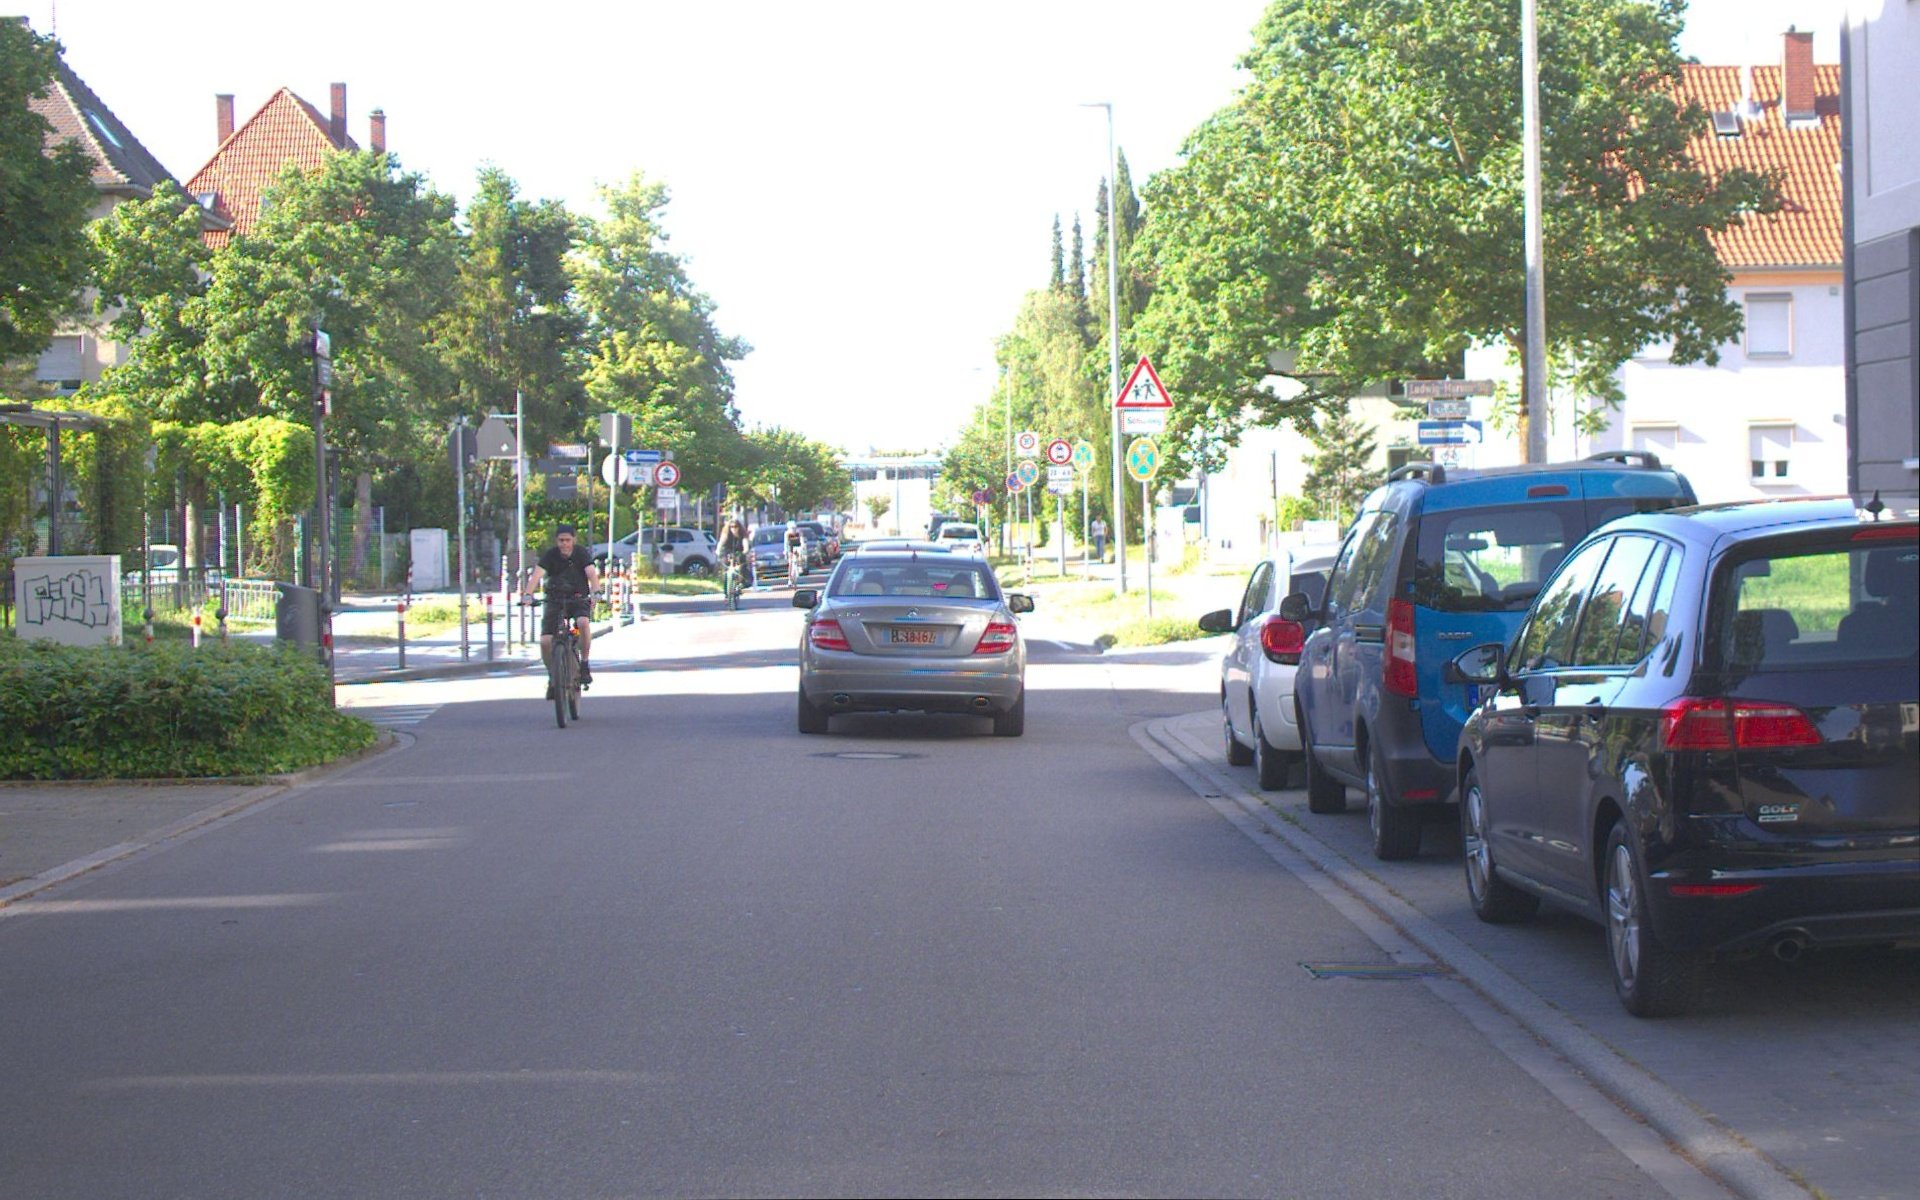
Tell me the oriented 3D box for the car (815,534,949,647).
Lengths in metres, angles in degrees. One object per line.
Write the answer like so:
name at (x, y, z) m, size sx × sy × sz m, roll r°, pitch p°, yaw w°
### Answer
car at (-1.066, -0.124, 46.652) m, size 1.707 × 1.443 × 4.203 m, roll 1°, pitch 0°, yaw -1°

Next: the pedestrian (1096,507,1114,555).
pedestrian at (4.717, -2.237, 111.821) m, size 0.509 × 1.554 × 0.643 m, roll 1°, pitch 0°, yaw 0°

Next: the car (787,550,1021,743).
car at (-0.411, 0.343, 27.678) m, size 1.726 × 1.415 × 3.960 m, roll 1°, pitch 0°, yaw 0°

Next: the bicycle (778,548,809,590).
bicycle at (-3.843, -0.719, 79.587) m, size 0.589 × 0.928 × 1.850 m, roll -1°, pitch 1°, yaw 0°

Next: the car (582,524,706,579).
car at (-9.093, -1.402, 98.931) m, size 3.493 × 1.528 × 1.645 m, roll -1°, pitch 1°, yaw -7°

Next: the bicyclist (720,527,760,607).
bicyclist at (-4.203, -0.638, 65.709) m, size 0.680 × 1.504 × 0.655 m, roll -1°, pitch 1°, yaw 1°

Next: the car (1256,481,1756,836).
car at (2.604, 0.259, 17.363) m, size 1.682 × 1.430 × 4.266 m, roll -5°, pitch 0°, yaw -1°

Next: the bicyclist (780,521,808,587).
bicyclist at (-3.845, -1.068, 79.615) m, size 0.572 × 1.504 × 0.655 m, roll -1°, pitch 1°, yaw 1°

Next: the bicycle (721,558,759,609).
bicycle at (-4.199, -0.327, 65.713) m, size 0.589 × 0.928 × 1.850 m, roll -1°, pitch 1°, yaw 0°

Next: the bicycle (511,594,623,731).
bicycle at (-3.360, 0.518, 29.522) m, size 0.719 × 1.075 × 1.891 m, roll -2°, pitch 1°, yaw 0°

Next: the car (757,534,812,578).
car at (-6.253, -1.589, 122.275) m, size 1.787 × 1.527 × 4.001 m, roll -1°, pitch 1°, yaw -5°

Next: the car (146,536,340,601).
car at (-15.995, -0.688, 76.873) m, size 3.986 × 1.371 × 2.000 m, roll 1°, pitch 0°, yaw -3°

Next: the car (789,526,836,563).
car at (-6.327, -2.395, 147.308) m, size 1.787 × 1.527 × 4.001 m, roll -1°, pitch 1°, yaw -5°

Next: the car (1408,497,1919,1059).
car at (2.764, 0.452, 11.917) m, size 1.737 × 1.526 × 4.179 m, roll -4°, pitch 1°, yaw -1°

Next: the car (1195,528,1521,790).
car at (2.460, 0.341, 22.021) m, size 1.564 × 1.406 × 3.729 m, roll -5°, pitch 0°, yaw 0°

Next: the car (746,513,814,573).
car at (-5.479, -1.739, 104.264) m, size 1.872 × 1.722 × 4.001 m, roll -1°, pitch 1°, yaw -5°

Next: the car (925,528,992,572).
car at (-0.067, -1.544, 106.616) m, size 1.722 × 1.325 × 4.001 m, roll -1°, pitch 1°, yaw -5°

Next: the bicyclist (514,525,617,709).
bicyclist at (-3.383, 0.128, 29.548) m, size 0.721 × 1.531 × 1.137 m, roll -2°, pitch 1°, yaw -1°
